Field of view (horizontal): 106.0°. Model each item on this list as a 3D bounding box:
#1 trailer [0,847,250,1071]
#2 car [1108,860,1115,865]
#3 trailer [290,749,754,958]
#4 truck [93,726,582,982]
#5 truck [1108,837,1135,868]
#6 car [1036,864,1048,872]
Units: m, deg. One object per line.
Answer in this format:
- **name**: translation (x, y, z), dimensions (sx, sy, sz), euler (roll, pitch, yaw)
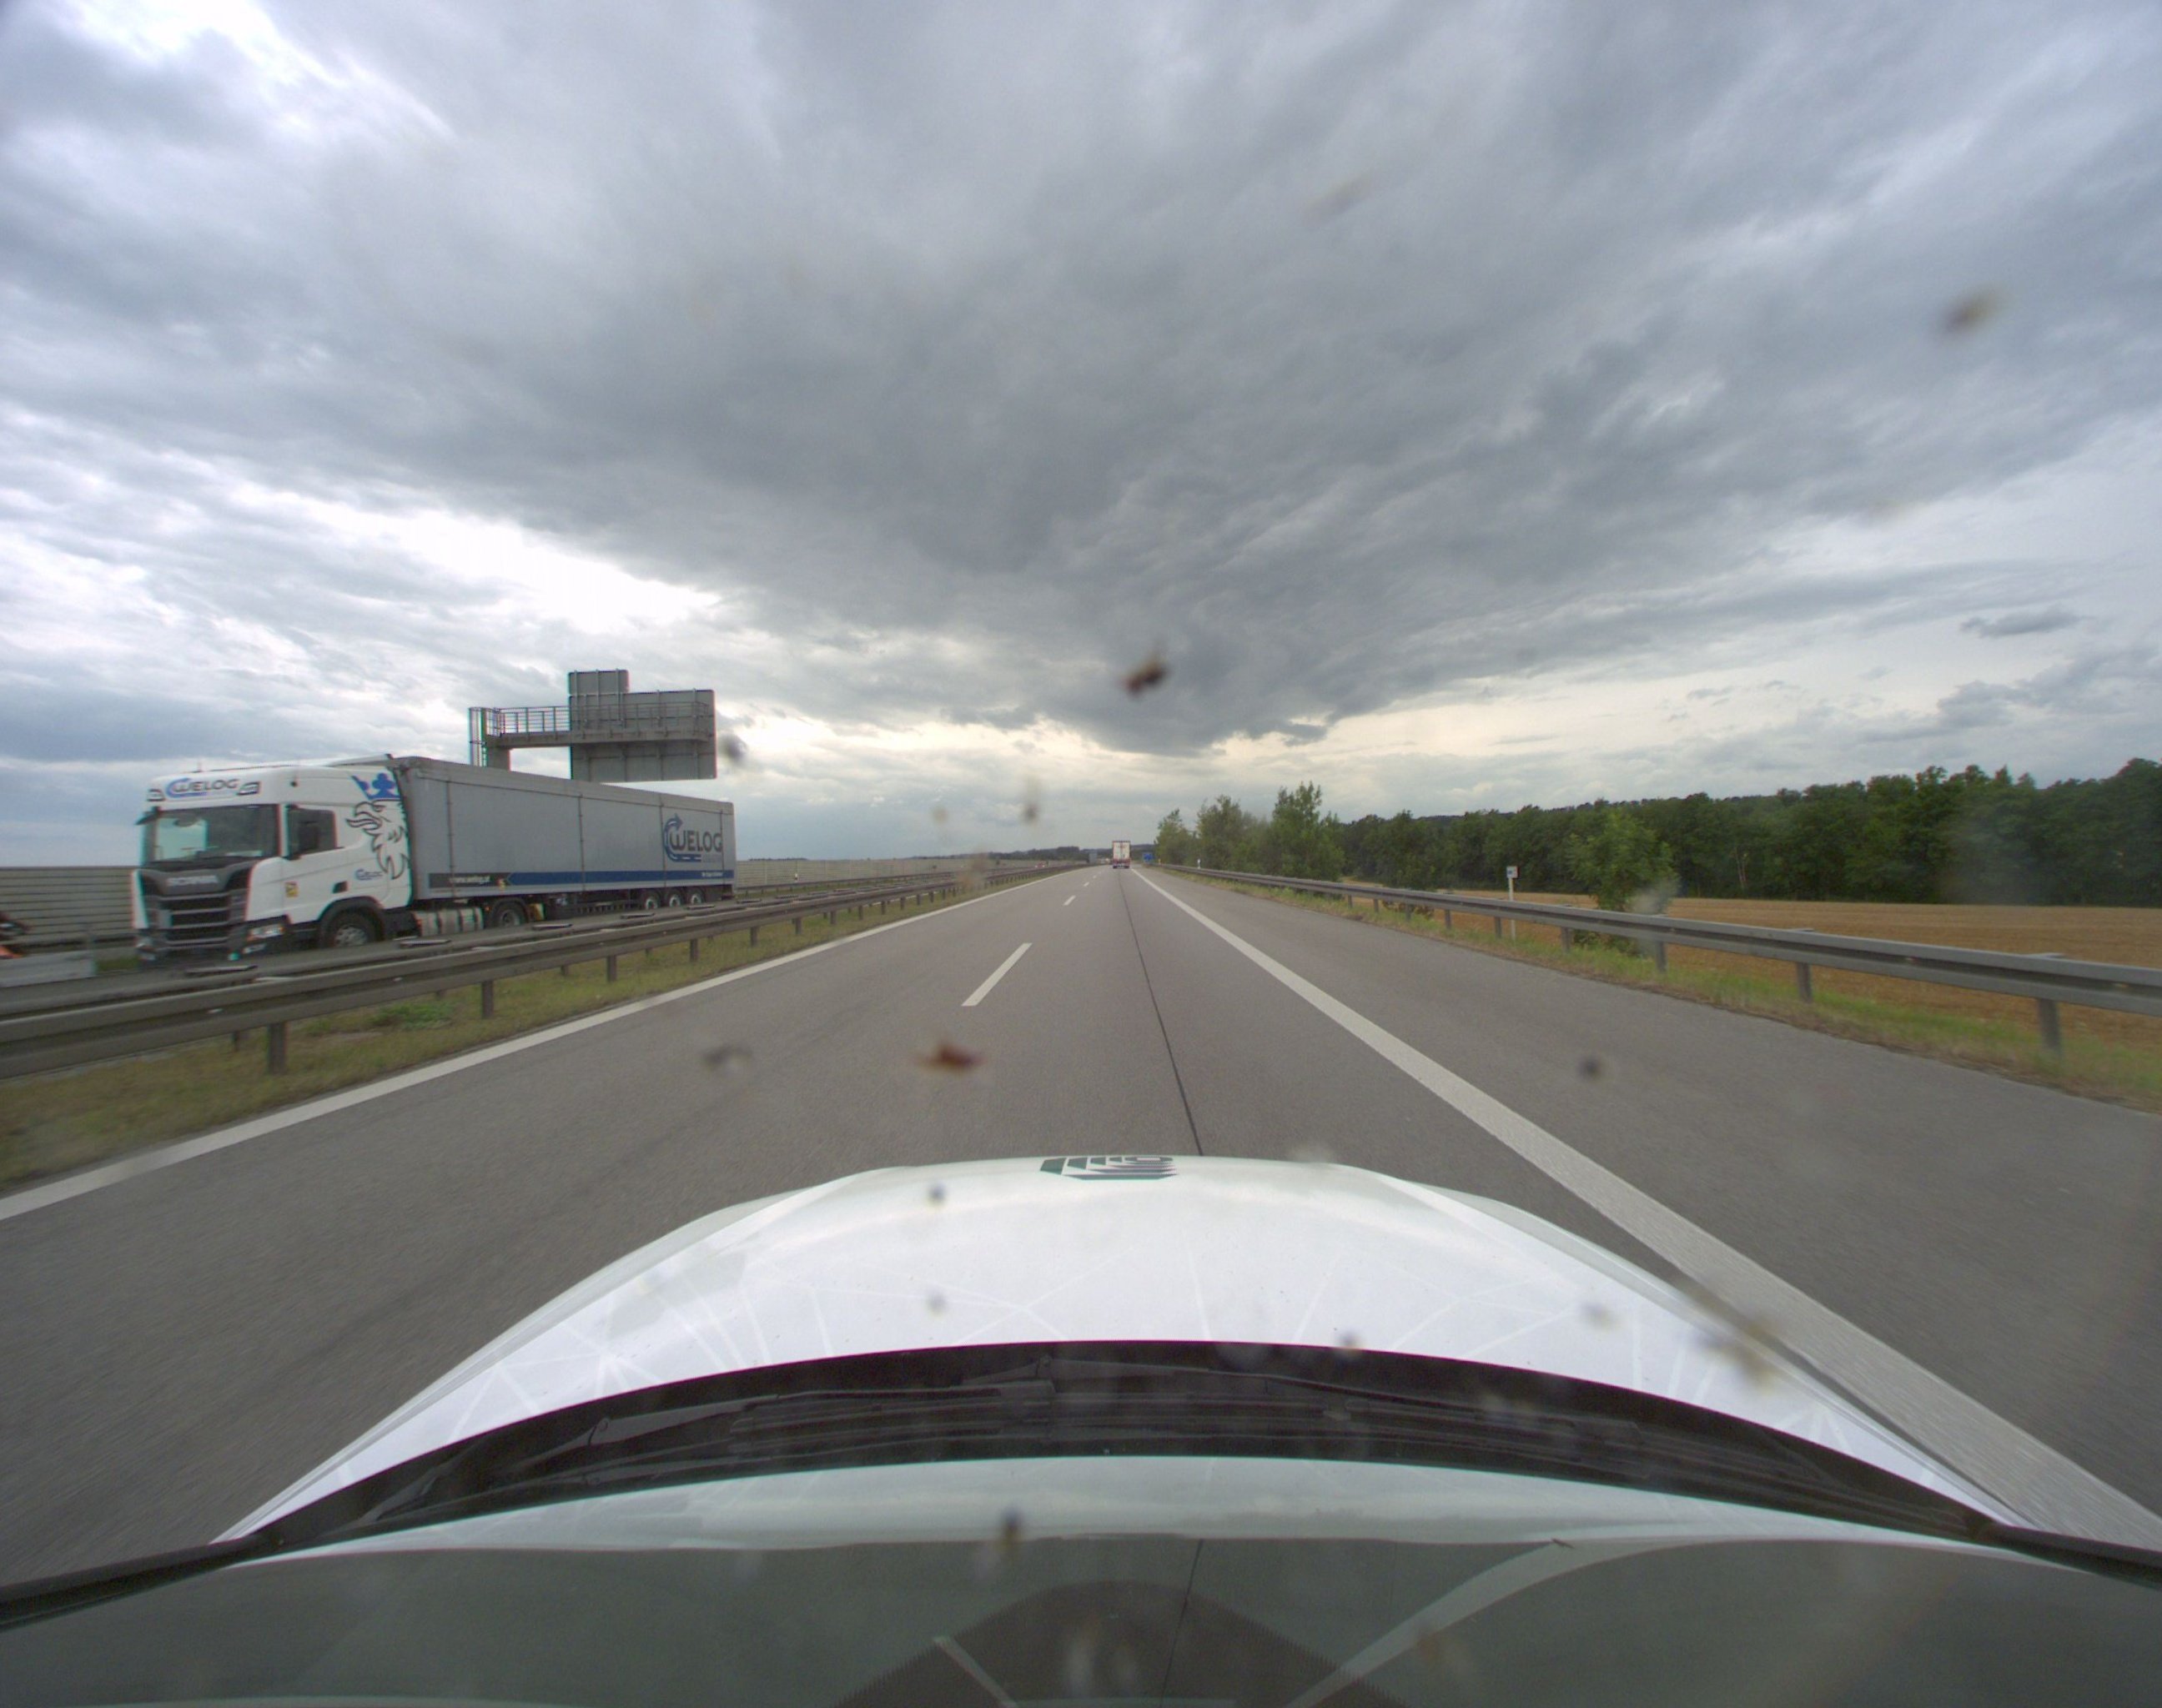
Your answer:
- **trailer**: translation (-10.152, 0.896, 7.017), dimensions (1.807, 1.847, 3.864), euler (3, 0, 2)
- **car**: translation (9.686, 2.710, 260.719), dimensions (1.987, 1.420, 3.999), euler (0, 1, -1)
- **trailer**: translation (-14.171, 0.021, 23.531), dimensions (3.167, 4.076, 14.030), euler (-3, 0, 2)
- **truck**: translation (-14.360, 0.013, 16.916), dimensions (3.097, 4.014, 7.327), euler (-3, 0, 2)
- **truck**: translation (6.220, -0.097, 126.495), dimensions (3.658, 4.412, 16.349), euler (-2, -1, 2)
- **car**: translation (-7.291, 2.564, 152.884), dimensions (1.810, 1.403, 4.879), euler (-3, 0, 3)
